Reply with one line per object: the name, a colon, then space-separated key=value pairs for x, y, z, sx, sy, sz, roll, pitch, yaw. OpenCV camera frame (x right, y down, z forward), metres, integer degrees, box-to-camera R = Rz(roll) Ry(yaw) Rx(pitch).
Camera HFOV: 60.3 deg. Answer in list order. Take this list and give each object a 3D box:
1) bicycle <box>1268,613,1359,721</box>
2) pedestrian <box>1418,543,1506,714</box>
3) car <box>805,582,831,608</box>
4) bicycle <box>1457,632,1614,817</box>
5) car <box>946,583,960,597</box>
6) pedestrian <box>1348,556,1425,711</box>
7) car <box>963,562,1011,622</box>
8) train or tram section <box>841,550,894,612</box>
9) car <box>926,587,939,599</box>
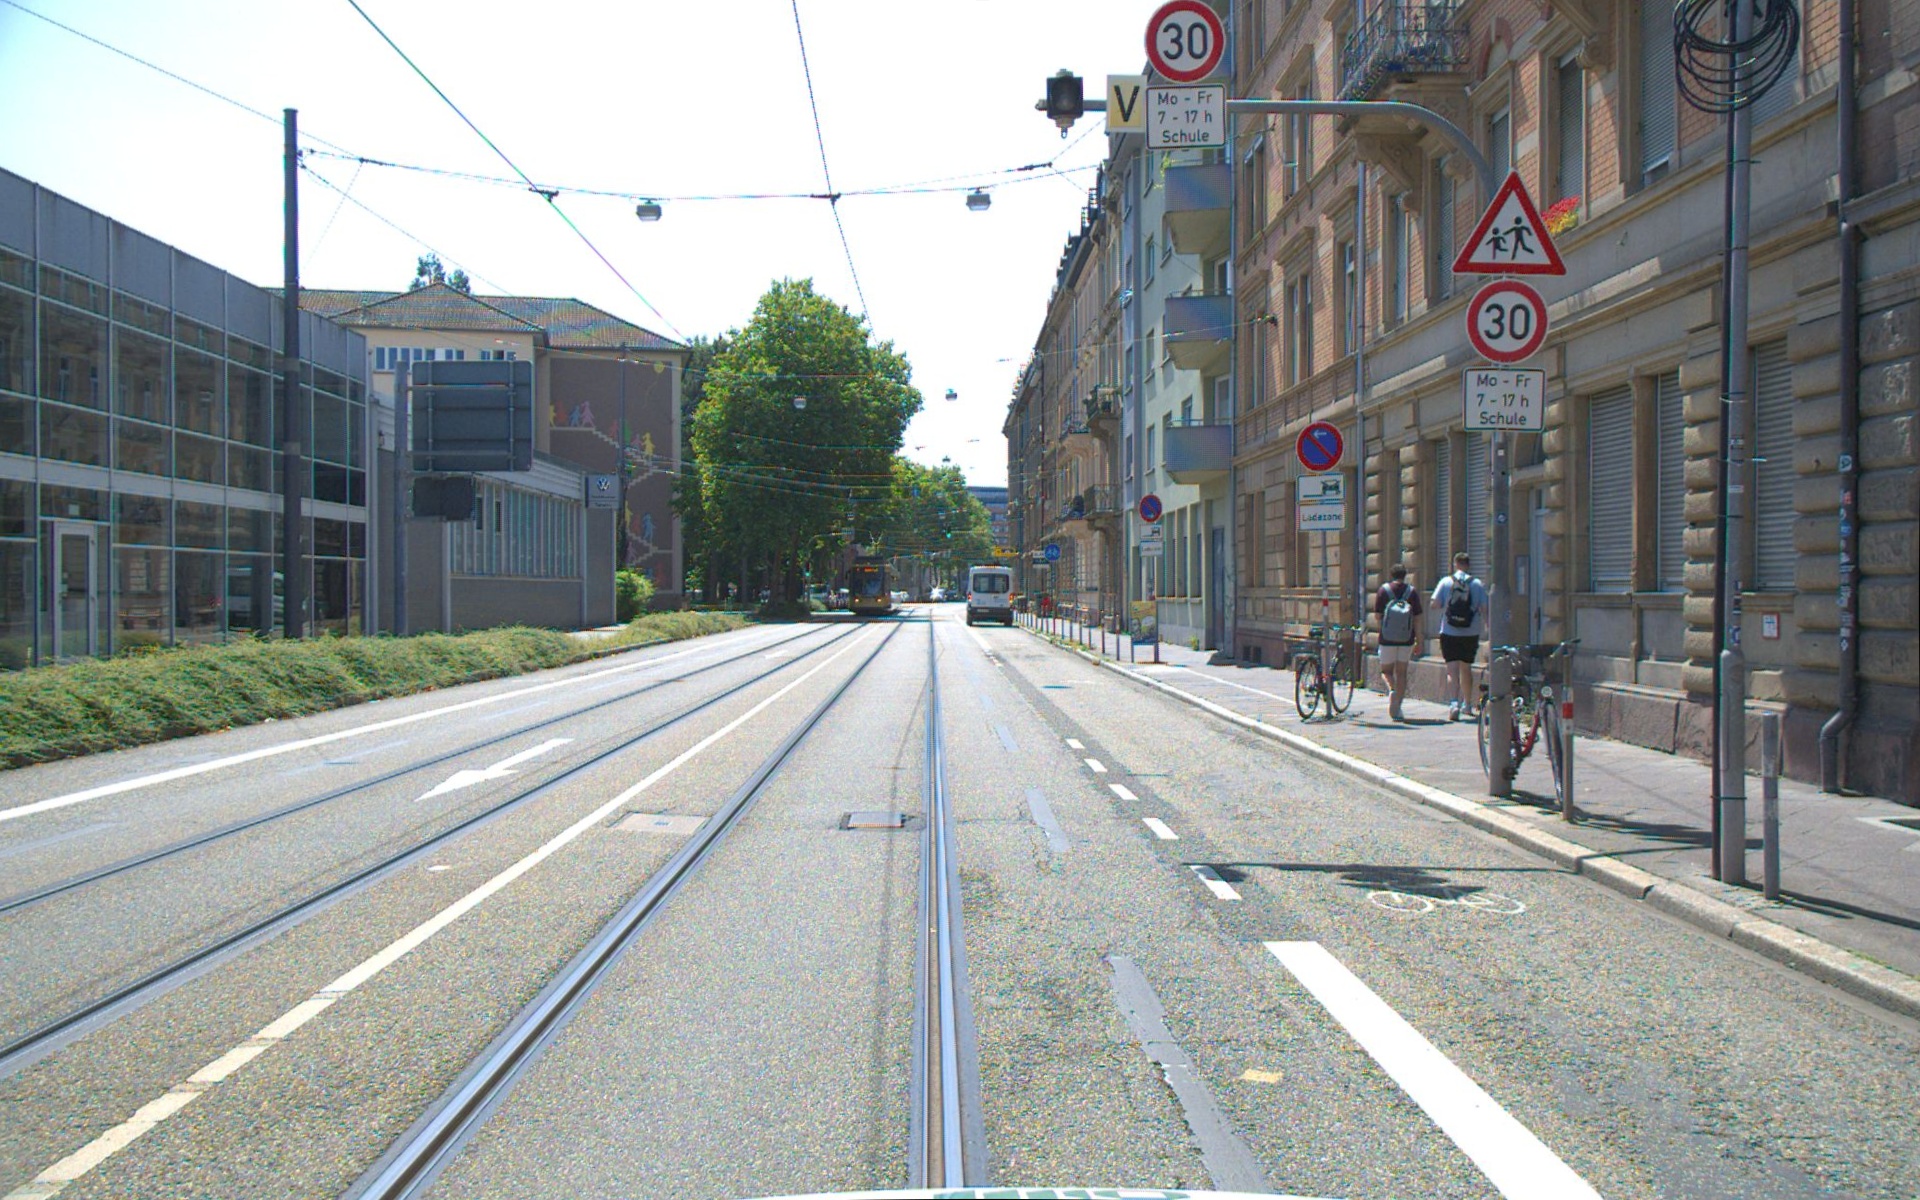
bicycle: x=4.212 y=0.759 z=19.592 sx=0.489 sy=1.150 sz=2.240 roll=-1 pitch=0 yaw=27
pedestrian: x=5.730 y=0.316 z=18.918 sx=0.688 sy=1.881 sz=0.643 roll=-4 pitch=0 yaw=0
car: x=-10.541 y=-0.377 z=123.163 sx=1.764 sy=1.956 sz=3.998 roll=0 pitch=0 yaw=-3
bicycle: x=4.058 y=0.823 z=11.831 sx=0.438 sy=1.116 sz=2.424 roll=-1 pitch=0 yaw=4
car: x=-0.886 y=-1.303 z=220.674 sx=1.641 sy=1.892 sz=3.997 roll=0 pitch=0 yaw=-4
pedestrian: x=4.922 y=0.375 z=19.123 sx=0.705 sy=1.750 sz=0.643 roll=-1 pitch=0 yaw=0
car: x=1.163 y=-0.353 z=73.320 sx=2.025 sy=2.544 sz=5.454 roll=1 pitch=0 yaw=0
train or tram section: x=-5.711 y=-1.161 z=103.902 sx=2.901 sy=3.643 sz=13.419 roll=0 pitch=0 yaw=-1
car: x=-3.502 y=-0.899 z=212.856 sx=1.498 sy=1.433 sz=3.487 roll=0 pitch=0 yaw=-3
